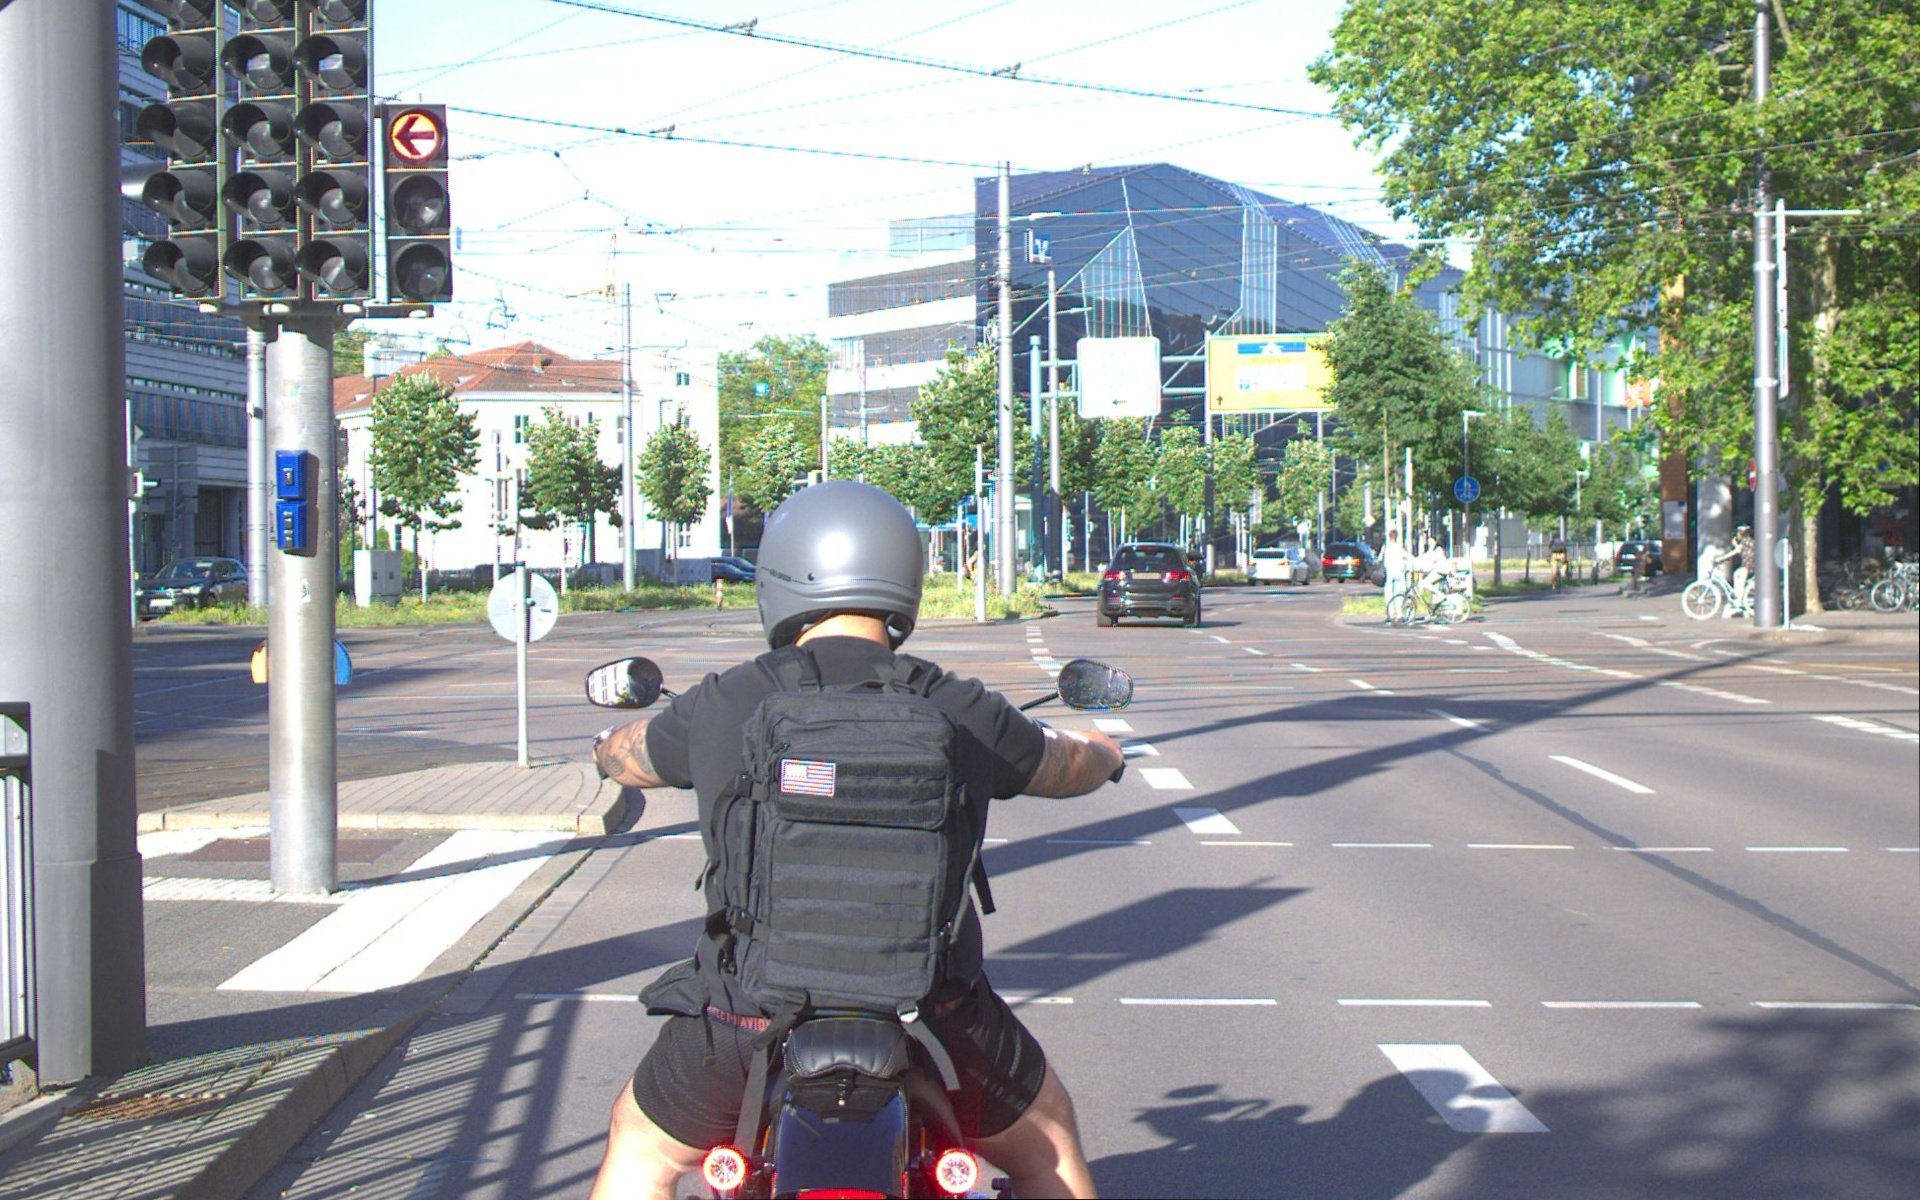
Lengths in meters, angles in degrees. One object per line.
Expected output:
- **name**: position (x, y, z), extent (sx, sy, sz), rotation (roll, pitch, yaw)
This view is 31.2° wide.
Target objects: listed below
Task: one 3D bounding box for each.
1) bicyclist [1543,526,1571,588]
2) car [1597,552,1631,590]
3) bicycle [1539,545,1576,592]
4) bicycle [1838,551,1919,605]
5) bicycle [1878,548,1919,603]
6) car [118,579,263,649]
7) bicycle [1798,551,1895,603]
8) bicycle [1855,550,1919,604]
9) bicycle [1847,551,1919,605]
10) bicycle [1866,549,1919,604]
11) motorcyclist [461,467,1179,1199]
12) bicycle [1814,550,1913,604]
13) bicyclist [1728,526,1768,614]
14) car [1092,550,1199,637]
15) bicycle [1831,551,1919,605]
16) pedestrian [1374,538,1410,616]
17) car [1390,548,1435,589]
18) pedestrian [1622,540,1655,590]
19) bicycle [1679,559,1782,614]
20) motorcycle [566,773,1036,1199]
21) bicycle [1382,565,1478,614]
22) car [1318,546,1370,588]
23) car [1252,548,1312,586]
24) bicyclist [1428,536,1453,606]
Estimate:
- **bicyclist**: position (17.524, -1.258, 100.954), extent (0.697, 1.802, 0.728), rotation (1, 0, 4)
- **car**: position (32.281, -1.409, 169.591), extent (1.531, 1.831, 3.573), rotation (1, 0, 12)
- **bicycle**: position (17.517, -0.916, 100.834), extent (0.726, 1.362, 2.917), rotation (1, 0, 3)
- **bicycle**: position (18.486, -0.434, 68.516), extent (1.880, 1.043, 0.360), rotation (1, 0, -1)
- **bicycle**: position (18.550, -0.455, 65.730), extent (1.880, 1.043, 0.360), rotation (1, 0, -1)
- **car**: position (-17.542, 0.313, 78.564), extent (1.750, 1.519, 3.998), rotation (1, 0, 11)
- **bicycle**: position (18.224, -0.476, 70.649), extent (1.880, 1.043, 0.360), rotation (1, 1, -1)
- **bicycle**: position (18.523, -0.438, 67.327), extent (1.880, 1.043, 0.360), rotation (1, 0, -1)
- **bicycle**: position (18.511, -0.430, 67.884), extent (1.880, 1.043, 0.360), rotation (1, 1, -1)
- **bicycle**: position (18.525, -0.447, 66.513), extent (1.880, 1.043, 0.360), rotation (1, 0, -1)
- **motorcyclist**: position (-0.205, 0.597, 5.409), extent (1.030, 1.588, 0.873), rotation (0, 1, -1)
- **bicycle**: position (18.268, -0.461, 69.498), extent (1.880, 1.043, 0.360), rotation (1, 1, -1)
- **bicyclist**: position (14.935, -0.567, 65.168), extent (0.688, 1.667, 0.540), rotation (0, 0, 19)
- **car**: position (3.631, -0.153, 66.640), extent (1.804, 1.590, 4.452), rotation (0, 1, 7)
- **bicycle**: position (18.474, -0.448, 69.001), extent (1.880, 1.043, 0.360), rotation (1, 1, -1)
- **pedestrian**: position (8.647, -0.465, 68.872), extent (0.587, 1.551, 0.489), rotation (1, 0, -8)
- **car**: position (20.560, -1.418, 156.024), extent (1.730, 1.831, 3.573), rotation (1, 0, 12)
- **pedestrian**: position (17.896, -0.915, 90.673), extent (0.819, 1.309, 0.637), rotation (1, 0, 9)
- **bicycle**: position (14.629, -0.251, 65.267), extent (1.872, 1.040, 0.536), rotation (0, 0, 19)
- **motorcycle**: position (-0.222, 0.878, 5.547), extent (0.600, 1.032, 2.234), rotation (1, 1, -1)
- **bicycle**: position (9.173, -0.211, 67.087), extent (1.825, 0.922, 0.358), rotation (1, 0, -8)
- **car**: position (16.193, -1.377, 144.726), extent (1.804, 1.672, 4.039), rotation (1, 0, 11)
- **car**: position (12.412, -1.279, 132.419), extent (1.804, 1.425, 4.451), rotation (0, 1, 12)
- **bicyclist**: position (9.388, -0.567, 67.116), extent (0.380, 1.368, 0.345), rotation (1, 0, -9)
